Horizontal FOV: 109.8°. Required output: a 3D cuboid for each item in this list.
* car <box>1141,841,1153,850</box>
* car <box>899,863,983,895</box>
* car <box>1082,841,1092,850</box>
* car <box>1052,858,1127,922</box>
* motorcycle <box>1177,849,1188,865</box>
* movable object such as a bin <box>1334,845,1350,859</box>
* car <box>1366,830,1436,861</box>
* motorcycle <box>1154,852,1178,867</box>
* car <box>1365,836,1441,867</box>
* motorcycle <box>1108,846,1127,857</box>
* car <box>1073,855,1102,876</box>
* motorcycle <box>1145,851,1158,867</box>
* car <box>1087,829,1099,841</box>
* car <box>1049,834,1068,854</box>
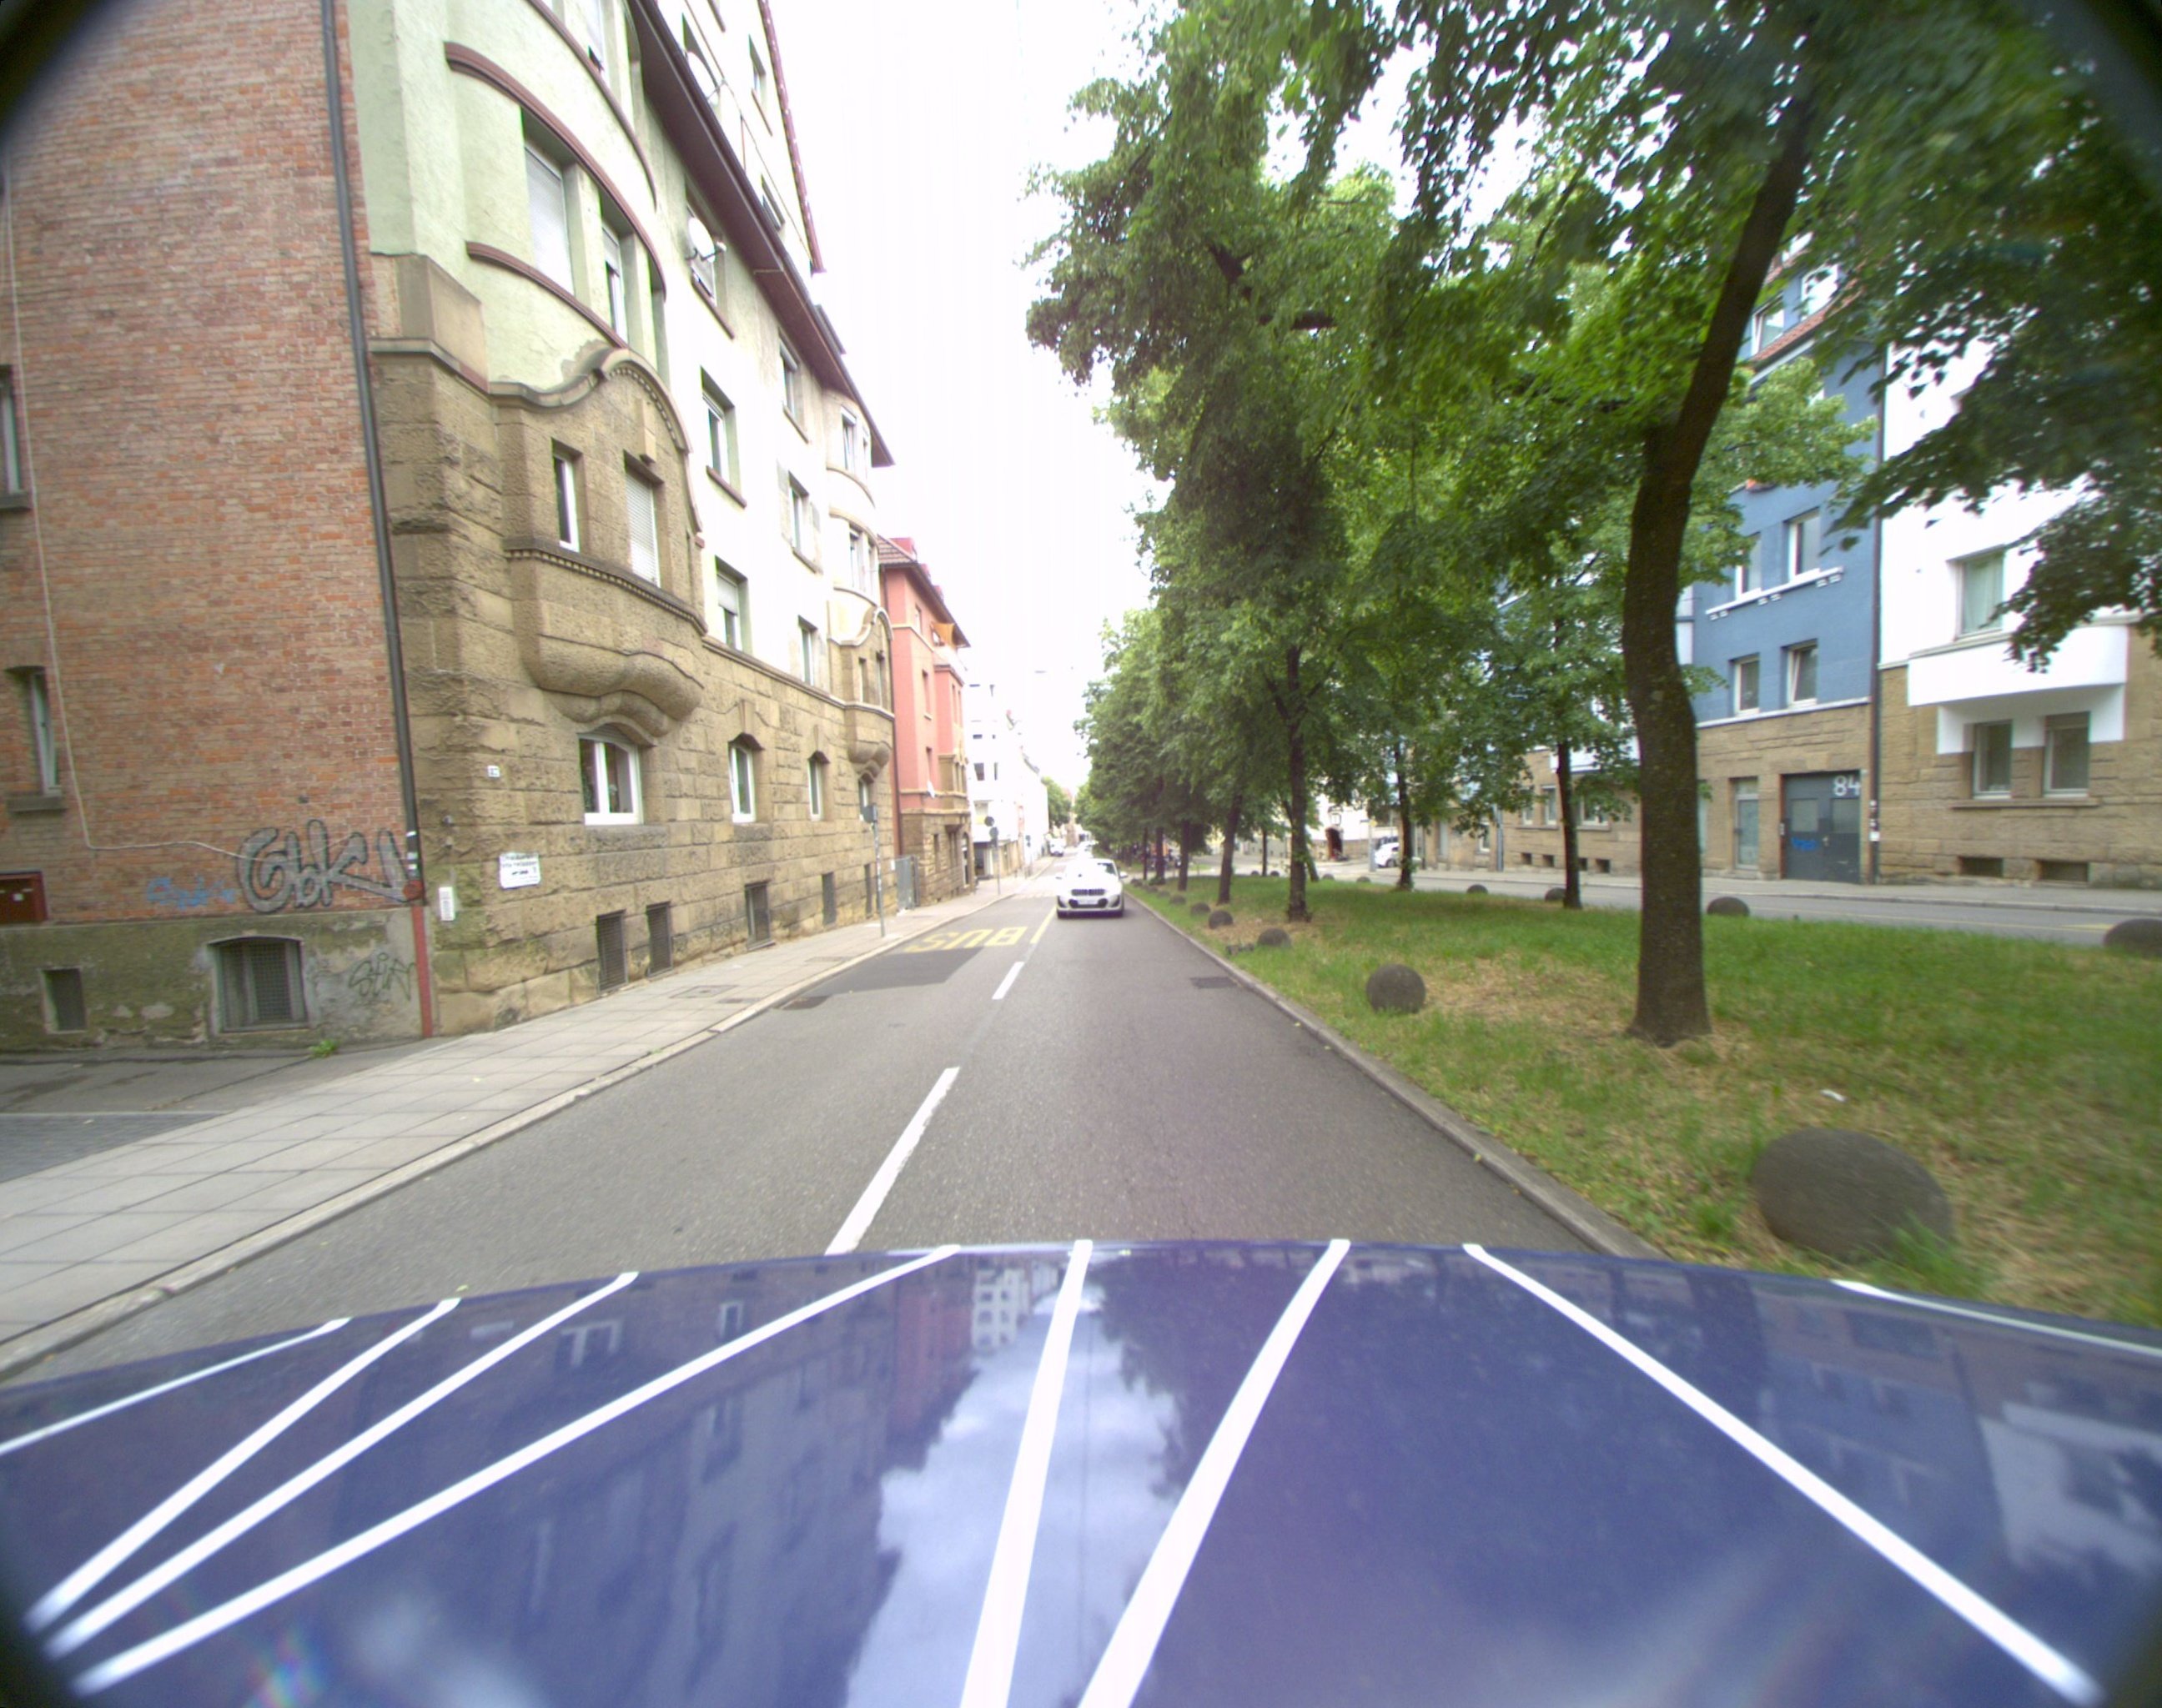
[{"bbox_3d":[12.908,-1.675,148.617,1.818,1.554,4.415,-3,1,-1],"label":"car"},{"bbox_3d":[-9.240,1.640,50.415,5.141,1.541,2.237,-5,1,-5],"label":"car"},{"bbox_3d":[1.197,-1.569,140.696,1.783,1.420,4.281,-1,0,1],"label":"car"},{"bbox_3d":[0.293,0.976,21.844,1.854,1.595,4.564,-2,-1,2],"label":"car"},{"bbox_3d":[8.077,0.238,60.567,0.750,1.068,1.851,-3,3,7],"label":"motorcycle"},{"bbox_3d":[19.449,-0.153,56.591,0.888,0.988,0.668,-5,2,-1],"label":"movable object such as a bin"},{"bbox_3d":[22.775,-0.628,54.182,4.007,1.690,1.871,-8,2,1],"label":"car"},{"bbox_3d":[6.554,0.425,58.650,1.735,1.090,0.551,-3,4,4],"label":"motorcycle"},{"bbox_3d":[20.914,-0.188,49.424,4.008,1.462,1.870,-7,3,-2],"label":"car"},{"bbox_3d":[4.001,-0.288,84.327,2.041,1.126,0.454,-4,4,1],"label":"motorcycle"},{"bbox_3d":[0.451,0.848,57.259,1.854,1.360,4.280,-4,0,-2],"label":"car"},{"bbox_3d":[5.583,0.383,60.373,0.888,1.090,2.481,-3,3,7],"label":"motorcycle"},{"bbox_3d":[3.289,-5.190,210.099,3.026,3.045,7.165,-2,2,-1],"label":"car"},{"bbox_3d":[-3.634,-1.650,124.179,3.026,3.045,7.165,-2,2,-1],"label":"car"}]
